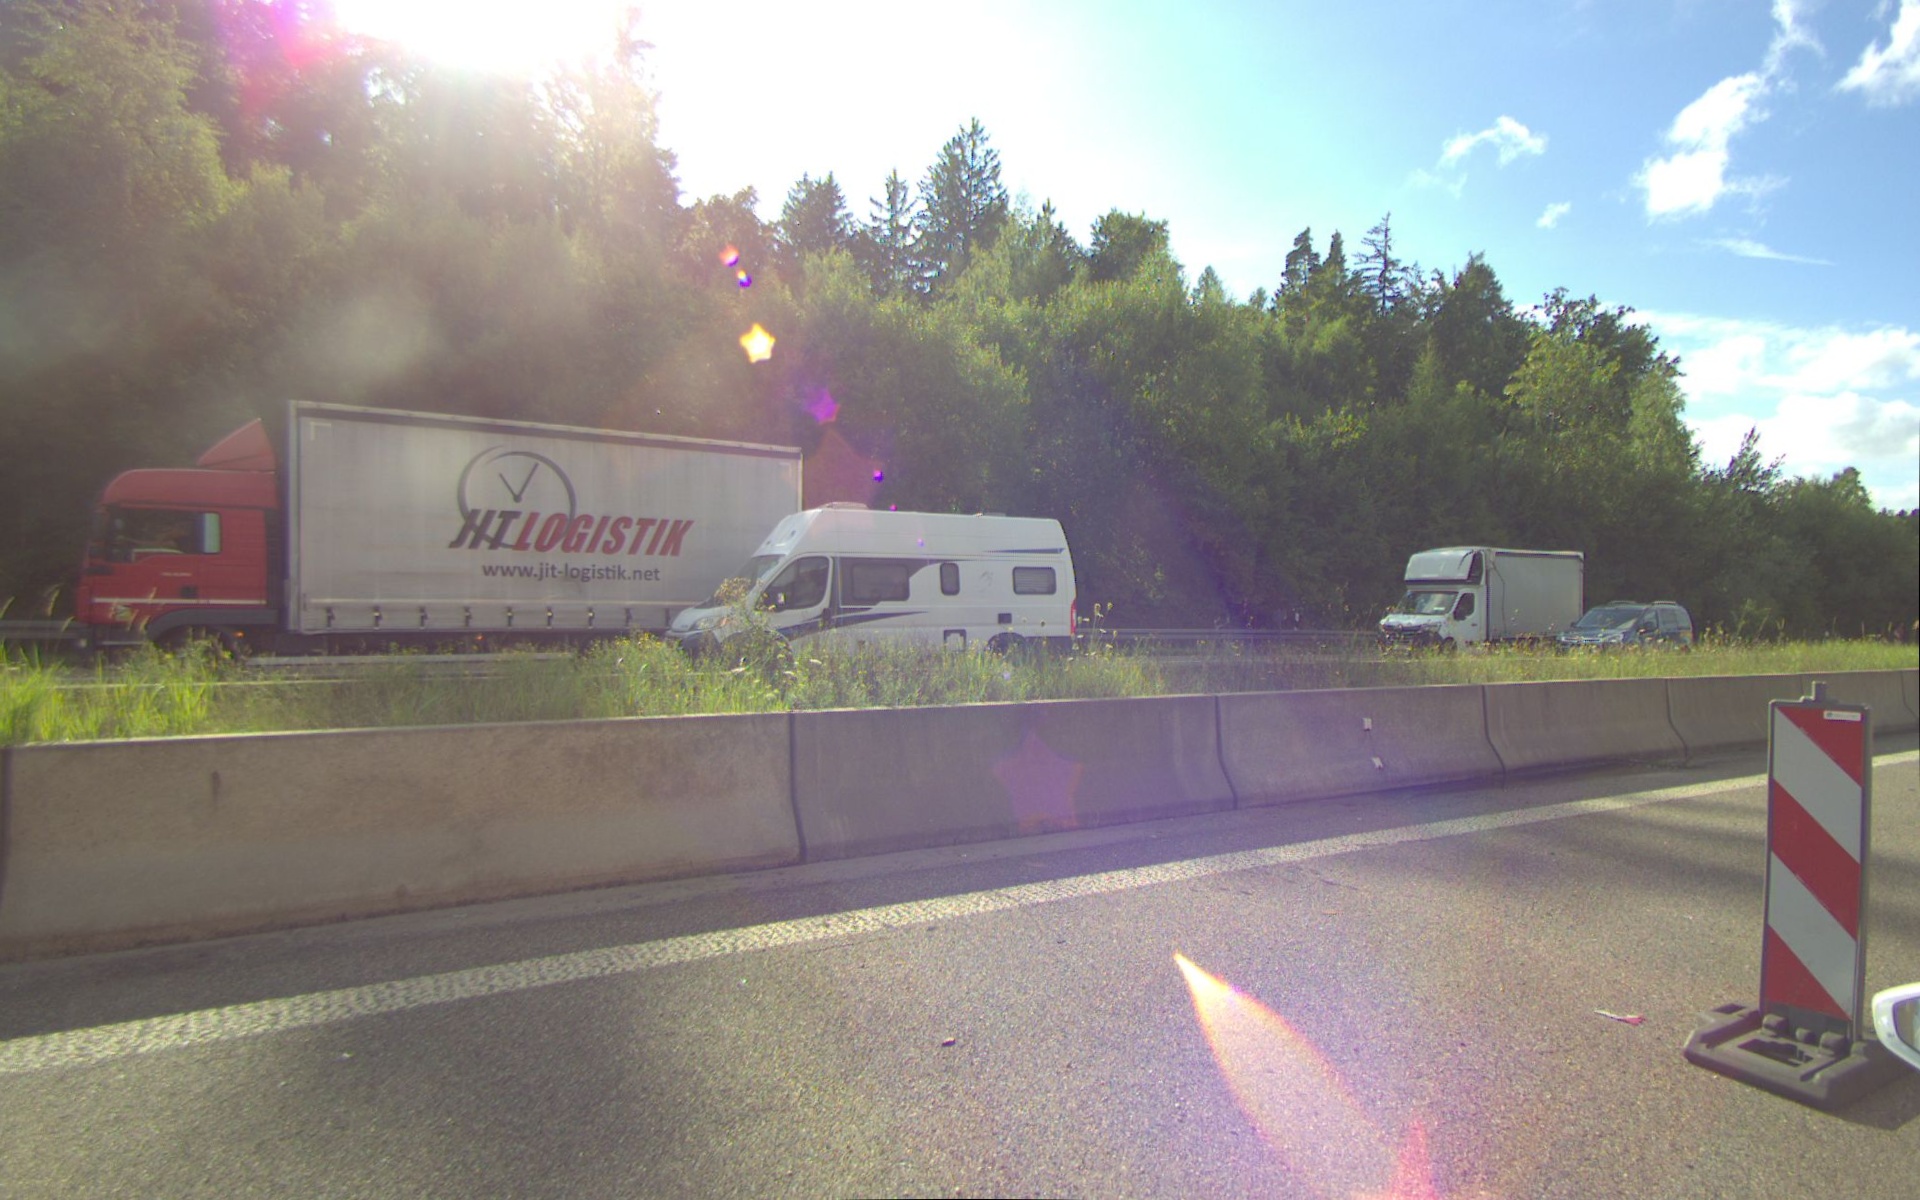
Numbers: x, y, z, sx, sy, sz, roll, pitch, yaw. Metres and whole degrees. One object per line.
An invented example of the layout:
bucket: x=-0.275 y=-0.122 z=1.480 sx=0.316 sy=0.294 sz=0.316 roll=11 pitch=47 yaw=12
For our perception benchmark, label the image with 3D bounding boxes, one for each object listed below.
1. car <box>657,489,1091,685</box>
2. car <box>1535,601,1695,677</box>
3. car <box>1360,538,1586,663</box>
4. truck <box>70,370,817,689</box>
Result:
car: x=-1.164 y=-0.144 z=15.223 sx=6.256 sy=2.484 sz=2.150 roll=1 pitch=0 yaw=-30
car: x=17.441 y=1.020 z=26.713 sx=4.070 sy=1.837 sz=1.935 roll=2 pitch=0 yaw=-30
car: x=15.532 y=0.099 z=30.227 sx=7.367 sy=3.415 sz=2.474 roll=2 pitch=0 yaw=-31
truck: x=-7.604 y=-0.807 z=16.503 sx=10.065 sy=4.045 sz=2.787 roll=1 pitch=0 yaw=-30
